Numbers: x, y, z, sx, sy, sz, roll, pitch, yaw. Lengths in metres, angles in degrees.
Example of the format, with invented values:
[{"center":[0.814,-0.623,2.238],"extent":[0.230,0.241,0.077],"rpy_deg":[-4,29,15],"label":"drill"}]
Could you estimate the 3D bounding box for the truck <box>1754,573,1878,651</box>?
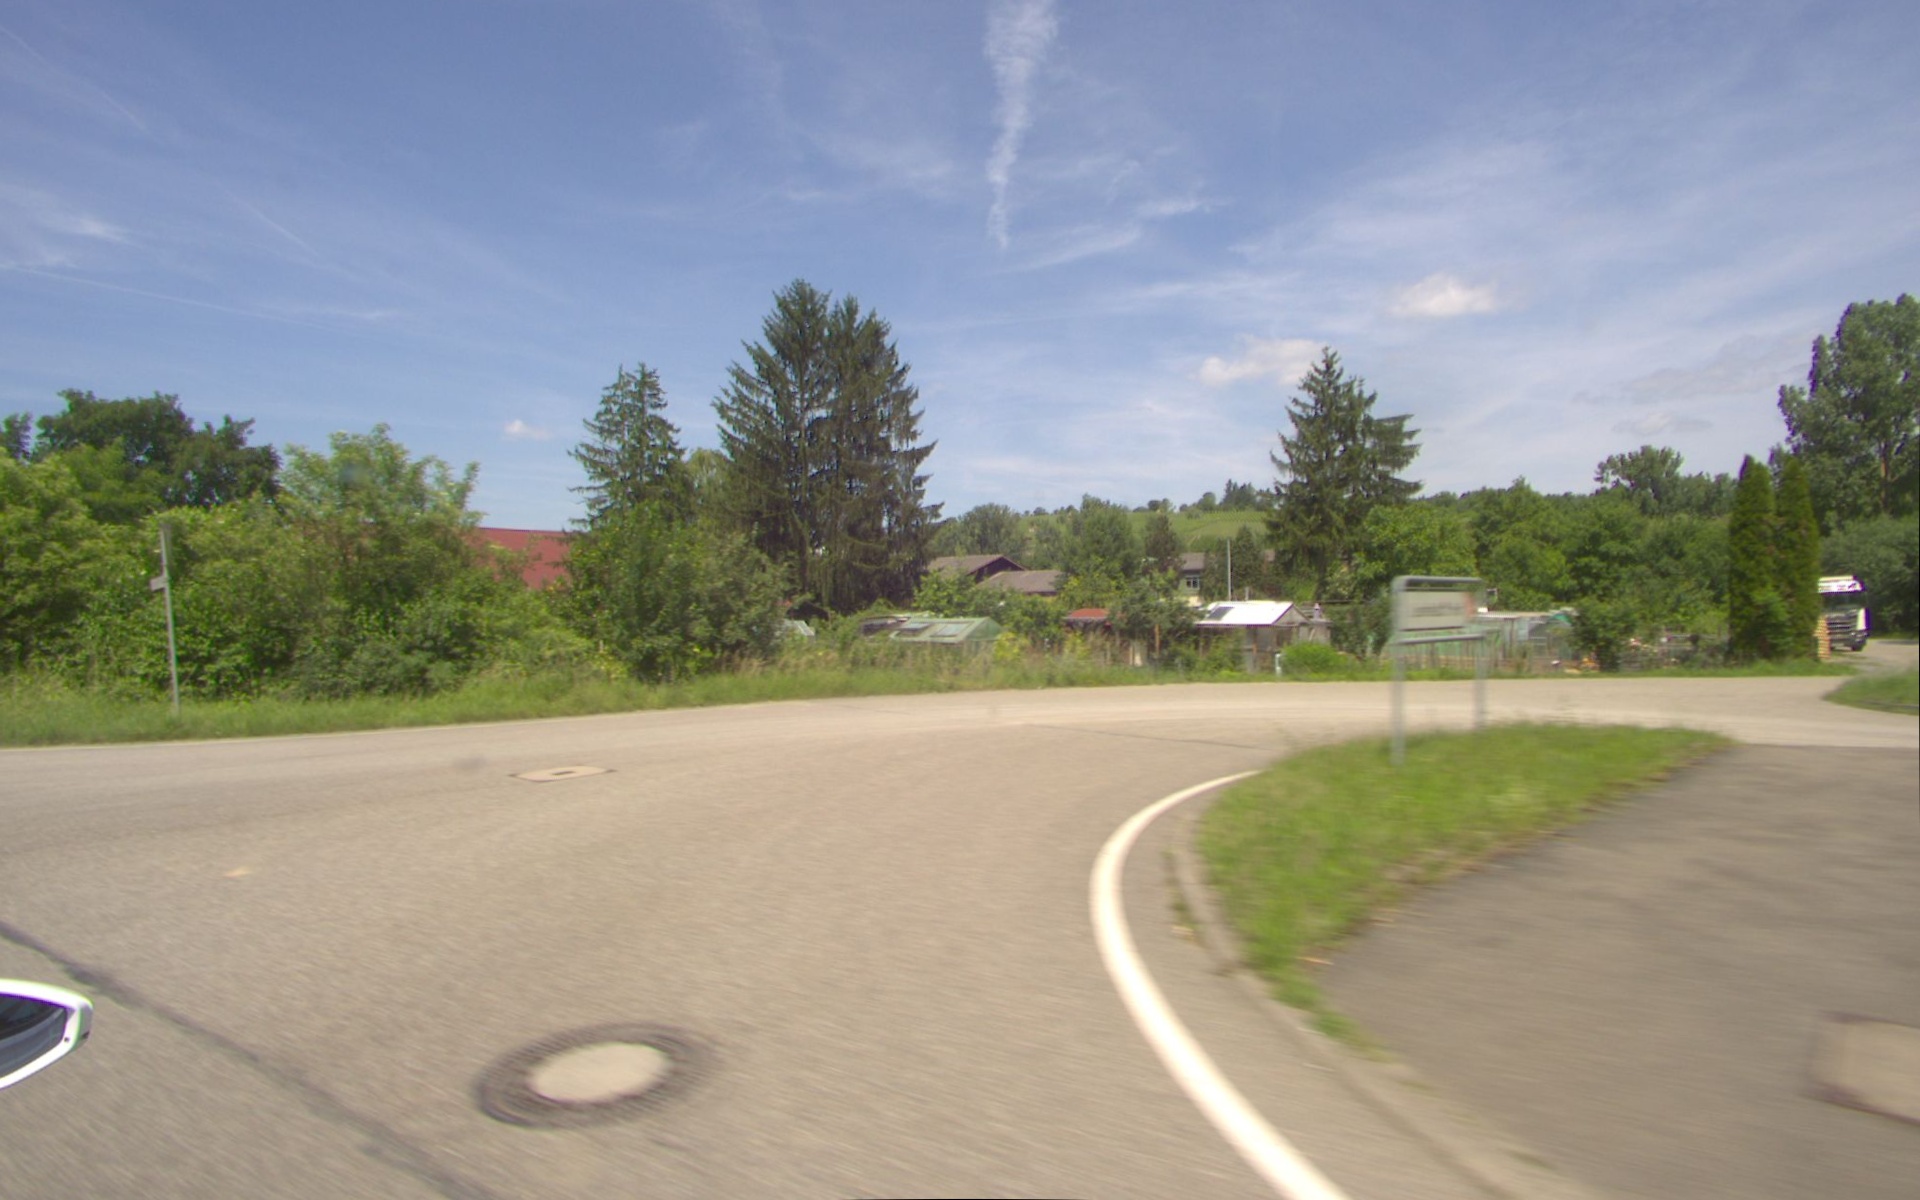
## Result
[{"center":[45.459,0.653,53.592],"extent":[2.344,3.744,11.536],"rpy_deg":[-1,-1,27],"label":"truck"}]
